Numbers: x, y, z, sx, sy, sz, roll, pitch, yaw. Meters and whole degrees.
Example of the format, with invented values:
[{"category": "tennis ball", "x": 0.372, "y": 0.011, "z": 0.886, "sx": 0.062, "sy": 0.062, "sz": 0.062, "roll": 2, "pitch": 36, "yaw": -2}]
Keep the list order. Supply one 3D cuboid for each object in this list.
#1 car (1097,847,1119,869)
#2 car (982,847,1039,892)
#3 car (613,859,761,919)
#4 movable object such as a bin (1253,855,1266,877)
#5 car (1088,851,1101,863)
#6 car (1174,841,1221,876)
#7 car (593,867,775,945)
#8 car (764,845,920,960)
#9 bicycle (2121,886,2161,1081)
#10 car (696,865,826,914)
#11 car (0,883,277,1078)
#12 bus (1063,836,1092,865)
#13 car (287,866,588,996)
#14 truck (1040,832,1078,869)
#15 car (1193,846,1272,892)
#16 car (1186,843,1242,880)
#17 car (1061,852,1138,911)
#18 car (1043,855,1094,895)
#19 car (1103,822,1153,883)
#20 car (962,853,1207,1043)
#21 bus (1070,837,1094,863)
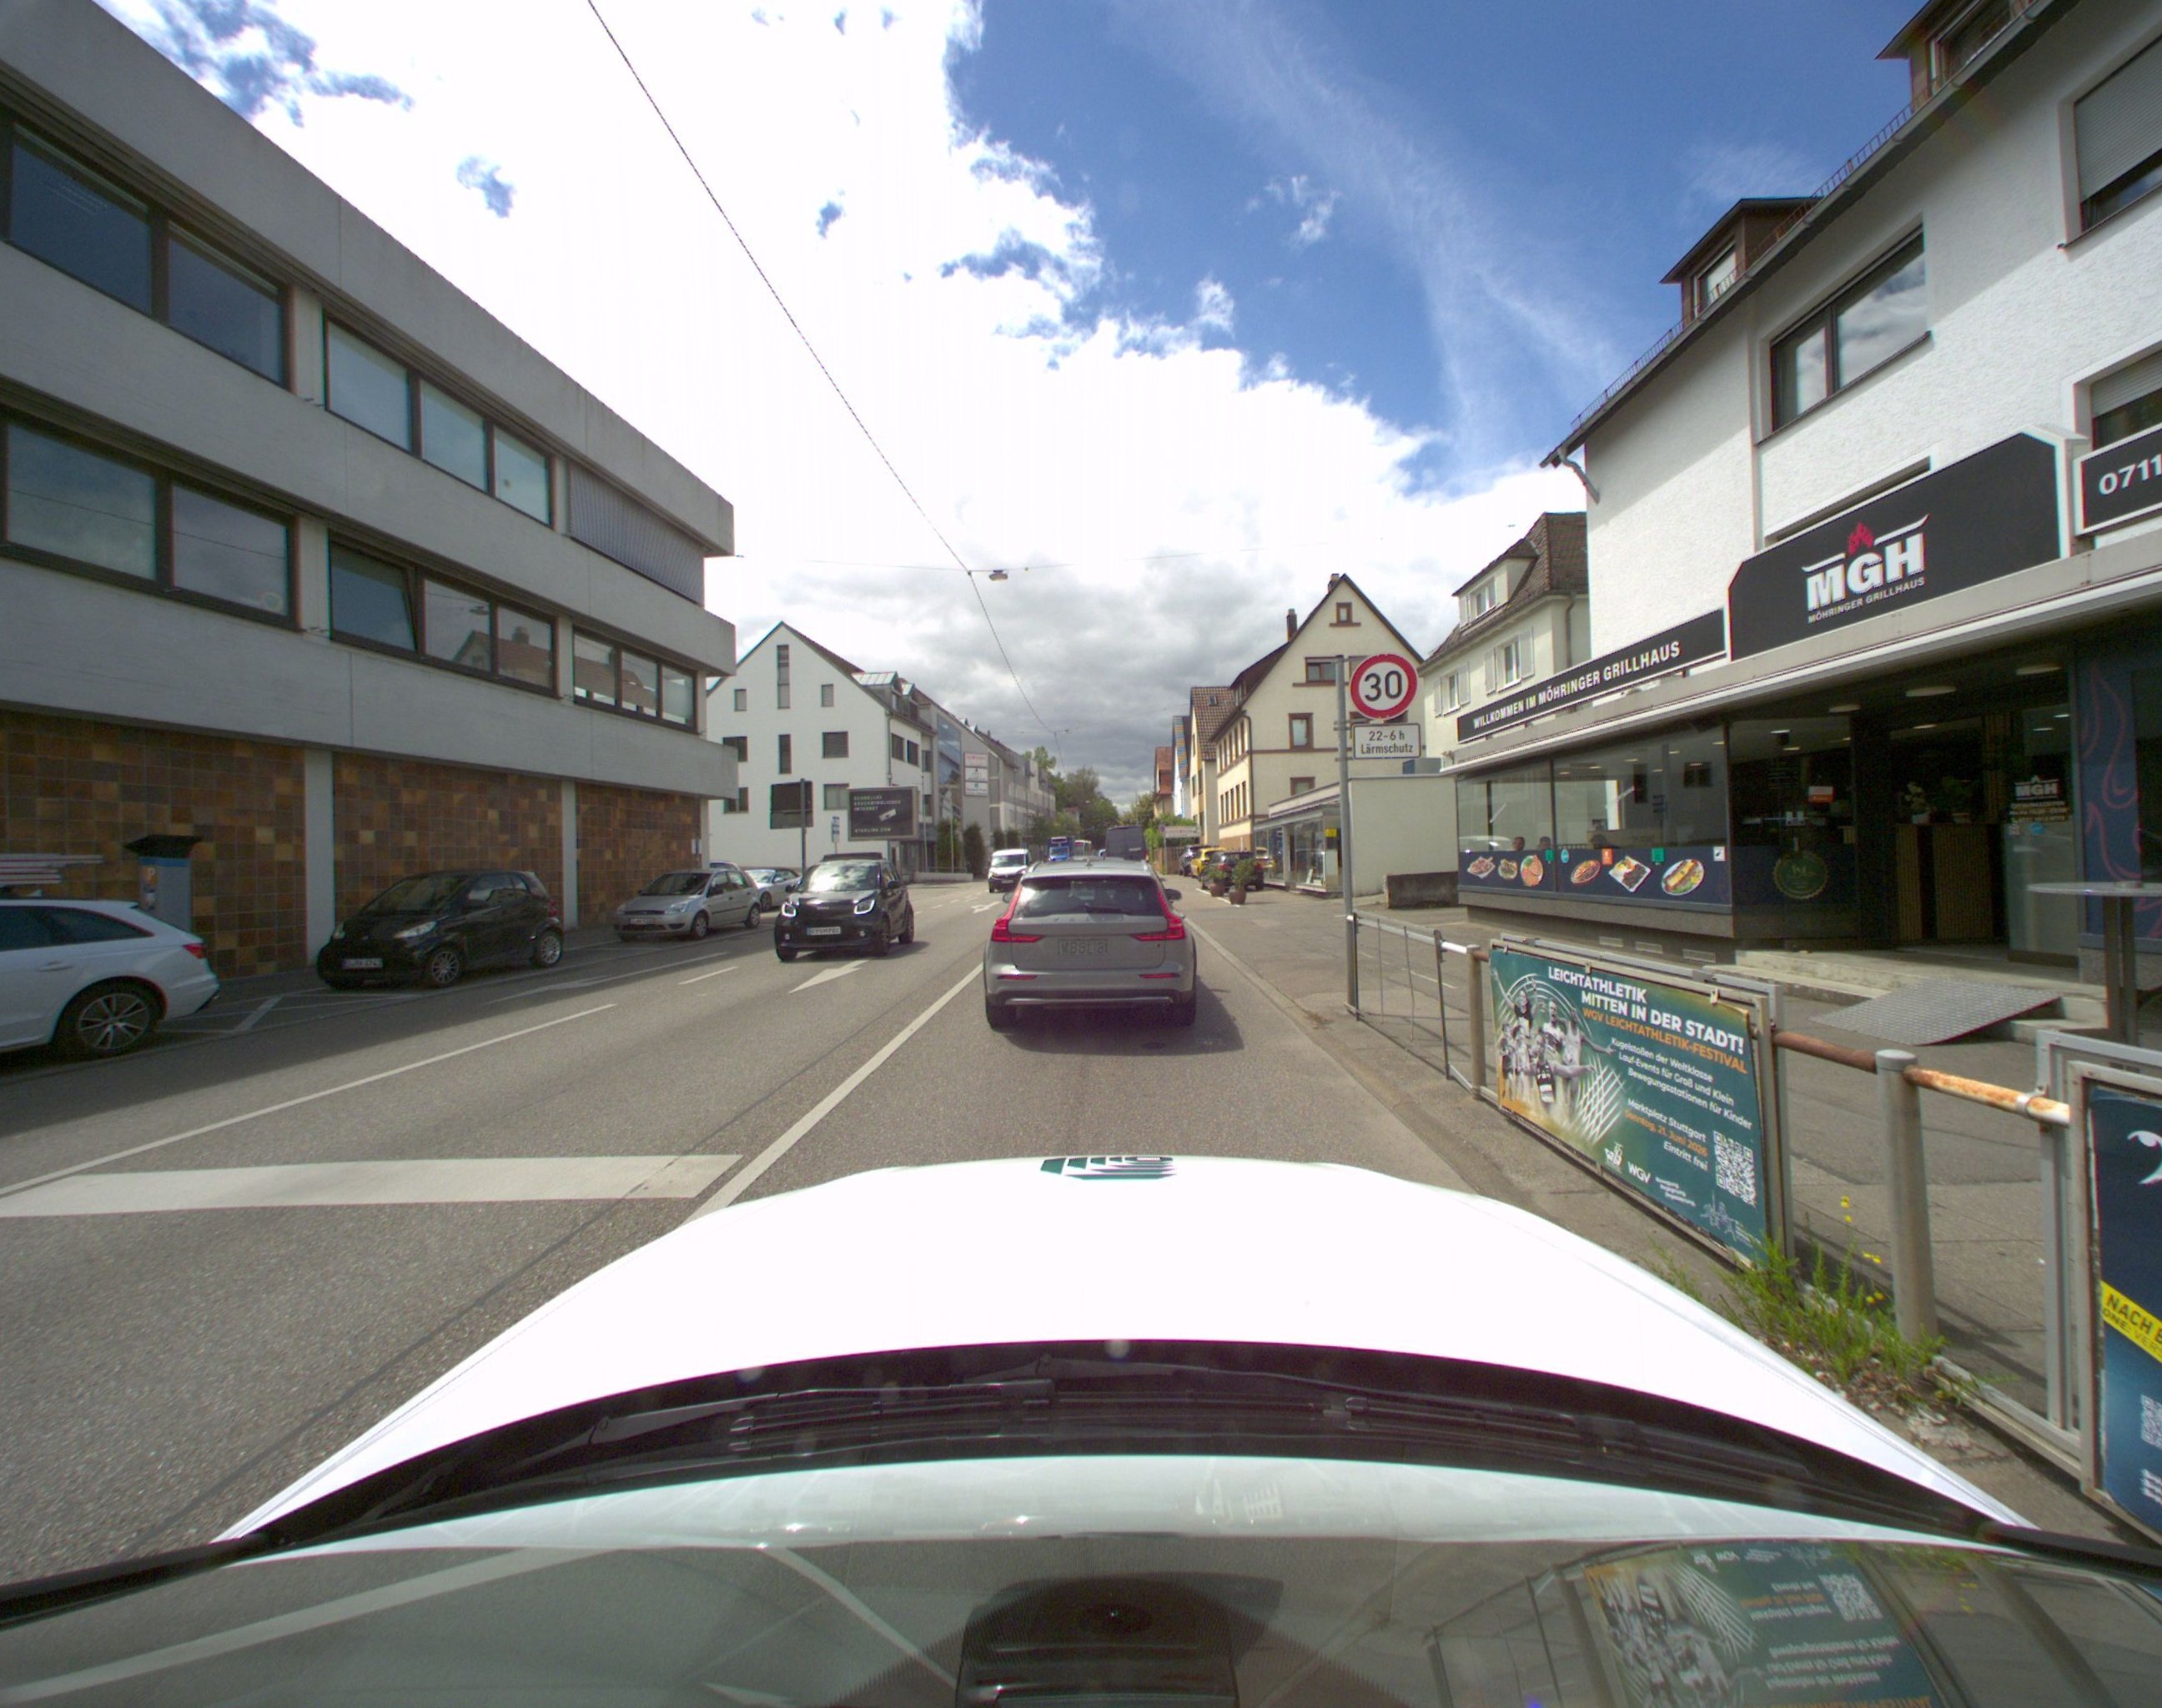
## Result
[{"category": "car", "x": 2.699, "y": 0.356, "z": 79.724, "sx": 1.985, "sy": 2.013, "sz": 4.004, "roll": -1, "pitch": 0, "yaw": 4}, {"category": "car", "x": -3.077, "y": 0.647, "z": 36.362, "sx": 1.938, "sy": 1.821, "sz": 4.280, "roll": -2, "pitch": 0, "yaw": 2}, {"category": "car", "x": -13.080, "y": 1.082, "z": 27.481, "sx": 1.940, "sy": 1.619, "sz": 4.941, "roll": -4, "pitch": 0, "yaw": 8}, {"category": "movable object such as a bin", "x": 7.873, "y": 0.532, "z": 35.934, "sx": 0.498, "sy": 0.925, "sz": 0.599, "roll": -2, "pitch": 0, "yaw": 6}, {"category": "car", "x": 2.344, "y": 0.509, "z": 144.008, "sx": 2.098, "sy": 2.121, "sz": 4.767, "roll": -3, "pitch": 0, "yaw": 1}, {"category": "car", "x": 6.072, "y": 0.207, "z": 42.816, "sx": 1.854, "sy": 1.612, "sz": 4.587, "roll": -3, "pitch": 0, "yaw": 1}, {"category": "car", "x": -8.580, "y": 1.055, "z": 18.064, "sx": 1.714, "sy": 1.422, "sz": 4.153, "roll": -1, "pitch": 0, "yaw": 4}, {"category": "car", "x": -3.811, "y": 0.721, "z": 13.474, "sx": 1.671, "sy": 1.635, "sz": 2.833, "roll": -2, "pitch": 0, "yaw": 0}, {"category": "bicycle", "x": 6.109, "y": 0.692, "z": 3.728, "sx": 0.474, "sy": 1.028, "sz": 1.632, "roll": -2, "pitch": 0, "yaw": -7}, {"category": "car", "x": -10.479, "y": 1.106, "z": 27.113, "sx": 1.941, "sy": 1.358, "sz": 4.863, "roll": -2, "pitch": 0, "yaw": 6}, {"category": "car", "x": -9.517, "y": 1.049, "z": 5.972, "sx": 2.034, "sy": 1.444, "sz": 4.959, "roll": -1, "pitch": 0, "yaw": 5}, {"category": "bus", "x": -0.330, "y": -0.397, "z": 98.178, "sx": 2.671, "sy": 3.163, "sz": 10.193, "roll": -2, "pitch": 0, "yaw": 3}, {"category": "car", "x": -9.003, "y": 0.993, "z": 11.728, "sx": 1.728, "sy": 1.556, "sz": 3.061, "roll": -1, "pitch": 0, "yaw": 5}, {"category": "truck", "x": -1.952, "y": -0.321, "z": 75.364, "sx": 2.842, "sy": 3.093, "sz": 8.095, "roll": -2, "pitch": 0, "yaw": 3}, {"category": "car", "x": 5.387, "y": 0.486, "z": 29.525, "sx": 1.962, "sy": 1.447, "sz": 4.535, "roll": -2, "pitch": 0, "yaw": 0}, {"category": "car", "x": 6.156, "y": 0.319, "z": 38.022, "sx": 1.871, "sy": 1.447, "sz": 4.307, "roll": -2, "pitch": 2, "yaw": 0}, {"category": "car", "x": 0.585, "y": 0.685, "z": 22.288, "sx": 1.888, "sy": 1.446, "sz": 3.972, "roll": -1, "pitch": 0, "yaw": 3}, {"category": "car", "x": -0.525, "y": 0.771, "z": 32.440, "sx": 1.891, "sy": 1.446, "sz": 3.966, "roll": -1, "pitch": 0, "yaw": -2}, {"category": "car", "x": 2.294, "y": -0.077, "z": 41.135, "sx": 2.244, "sy": 2.795, "sz": 5.572, "roll": -2, "pitch": 0, "yaw": 2}, {"category": "car", "x": 0.152, "y": 0.737, "z": 8.336, "sx": 1.888, "sy": 1.453, "sz": 3.972, "roll": -1, "pitch": 0, "yaw": 4}, {"category": "bus", "x": 0.160, "y": -0.487, "z": 107.238, "sx": 2.705, "sy": 3.163, "sz": 8.074, "roll": -2, "pitch": 0, "yaw": 3}]
